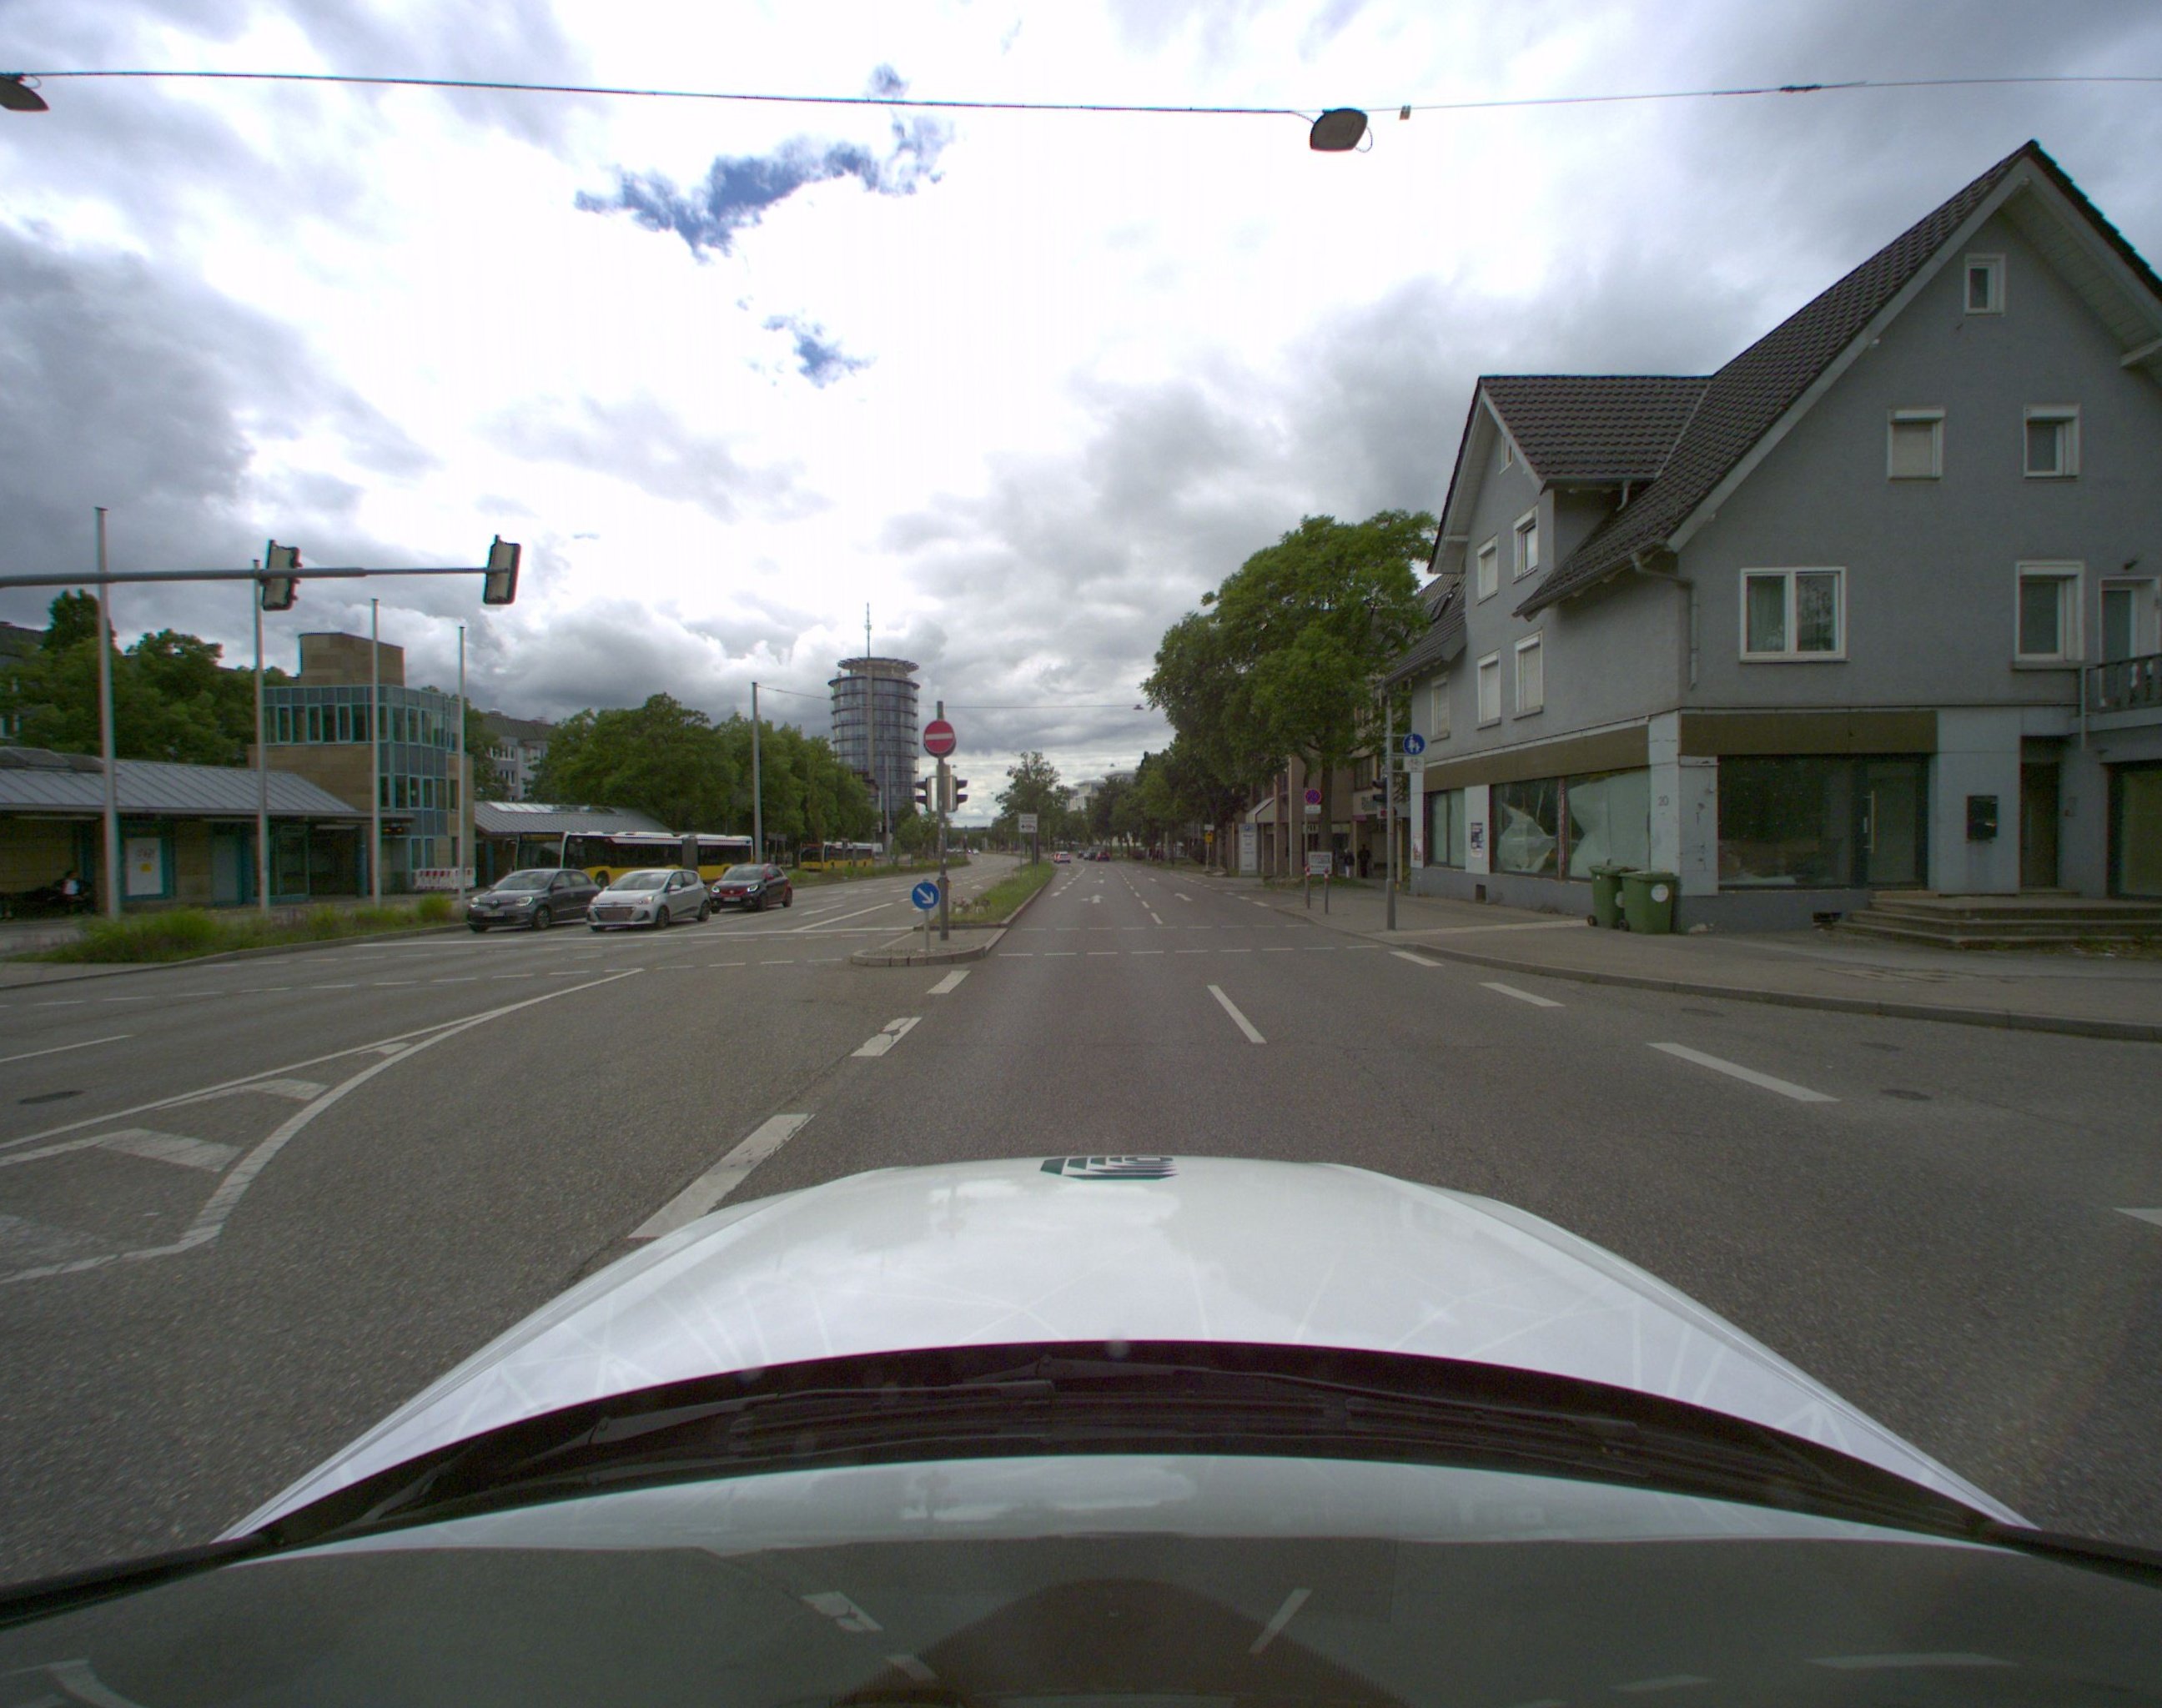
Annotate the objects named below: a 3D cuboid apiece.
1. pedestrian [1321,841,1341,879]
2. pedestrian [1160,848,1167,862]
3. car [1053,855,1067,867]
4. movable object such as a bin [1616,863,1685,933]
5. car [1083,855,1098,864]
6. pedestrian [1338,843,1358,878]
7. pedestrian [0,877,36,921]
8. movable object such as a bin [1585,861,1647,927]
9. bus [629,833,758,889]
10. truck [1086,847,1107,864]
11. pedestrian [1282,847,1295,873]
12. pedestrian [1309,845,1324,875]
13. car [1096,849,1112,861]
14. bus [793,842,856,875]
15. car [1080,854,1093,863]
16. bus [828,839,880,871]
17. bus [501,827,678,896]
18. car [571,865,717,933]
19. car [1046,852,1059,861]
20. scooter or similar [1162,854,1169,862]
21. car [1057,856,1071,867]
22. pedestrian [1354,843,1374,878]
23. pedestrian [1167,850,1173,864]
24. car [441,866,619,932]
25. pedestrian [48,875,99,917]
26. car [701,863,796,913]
[{"bbox_3d":[12.533,0.301,40.816,0.655,1.826,0.843,-3,-1,1],"label":"pedestrian"},{"bbox_3d":[9.965,0.179,98.399,0.554,1.652,0.959,-2,0,-7],"label":"pedestrian"},{"bbox_3d":[-3.057,0.975,119.198,1.989,1.672,3.996,-1,-1,-3],"label":"car"},{"bbox_3d":[9.267,0.703,13.275,0.624,1.104,0.710,0,0,0],"label":"movable object such as a bin"},{"bbox_3d":[1.604,0.911,134.418,1.991,1.508,3.991,-1,0,-6],"label":"car"},{"bbox_3d":[13.346,0.310,40.704,0.655,1.691,0.843,-3,-1,1],"label":"pedestrian"},{"bbox_3d":[-28.212,1.169,21.404,0.617,1.121,0.658,-1,-1,2],"label":"pedestrian"},{"bbox_3d":[9.232,0.675,14.068,0.606,1.104,0.710,0,0,0],"label":"movable object such as a bin"},{"bbox_3d":[-24.025,0.389,51.261,2.795,3.132,9.315,1,0,6],"label":"bus"},{"bbox_3d":[2.319,0.229,127.043,2.853,2.519,6.280,-1,-1,-3],"label":"truck"},{"bbox_3d":[13.650,0.388,53.577,0.592,1.705,0.970,-1,0,3],"label":"pedestrian"},{"bbox_3d":[12.254,0.302,42.389,0.559,1.550,0.544,-3,-1,1],"label":"pedestrian"},{"bbox_3d":[3.286,0.119,117.278,1.988,1.596,3.997,-1,0,-2],"label":"car"},{"bbox_3d":[-26.393,0.414,84.459,3.074,3.163,10.734,1,0,0],"label":"bus"},{"bbox_3d":[0.984,0.755,145.420,1.990,1.508,3.994,-1,-1,-4],"label":"car"},{"bbox_3d":[-26.305,0.144,94.910,3.020,3.455,9.913,1,0,1],"label":"bus"},{"bbox_3d":[-24.878,0.349,42.070,2.763,3.132,9.450,1,0,5],"label":"bus"},{"bbox_3d":[-11.031,1.077,20.884,1.740,1.465,3.788,0,1,-2],"label":"car"},{"bbox_3d":[-5.052,0.392,142.842,1.986,1.508,4.002,-1,0,2],"label":"car"},{"bbox_3d":[10.091,0.487,97.499,0.583,0.994,0.844,-2,0,-7],"label":"scooter or similar"},{"bbox_3d":[-2.385,1.098,113.904,1.859,1.449,3.995,-1,-1,-3],"label":"car"},{"bbox_3d":[14.125,0.318,40.633,0.655,1.691,0.843,-3,-1,1],"label":"pedestrian"},{"bbox_3d":[10.734,0.365,98.438,0.565,1.700,0.829,-1,-1,1],"label":"pedestrian"},{"bbox_3d":[-14.207,1.089,21.309,1.808,1.508,4.002,-1,-1,2],"label":"car"},{"bbox_3d":[-28.183,1.162,22.790,0.617,1.121,0.658,-1,-1,2],"label":"pedestrian"},{"bbox_3d":[-10.808,1.055,26.720,1.654,1.508,3.765,-1,-1,-2],"label":"car"}]
